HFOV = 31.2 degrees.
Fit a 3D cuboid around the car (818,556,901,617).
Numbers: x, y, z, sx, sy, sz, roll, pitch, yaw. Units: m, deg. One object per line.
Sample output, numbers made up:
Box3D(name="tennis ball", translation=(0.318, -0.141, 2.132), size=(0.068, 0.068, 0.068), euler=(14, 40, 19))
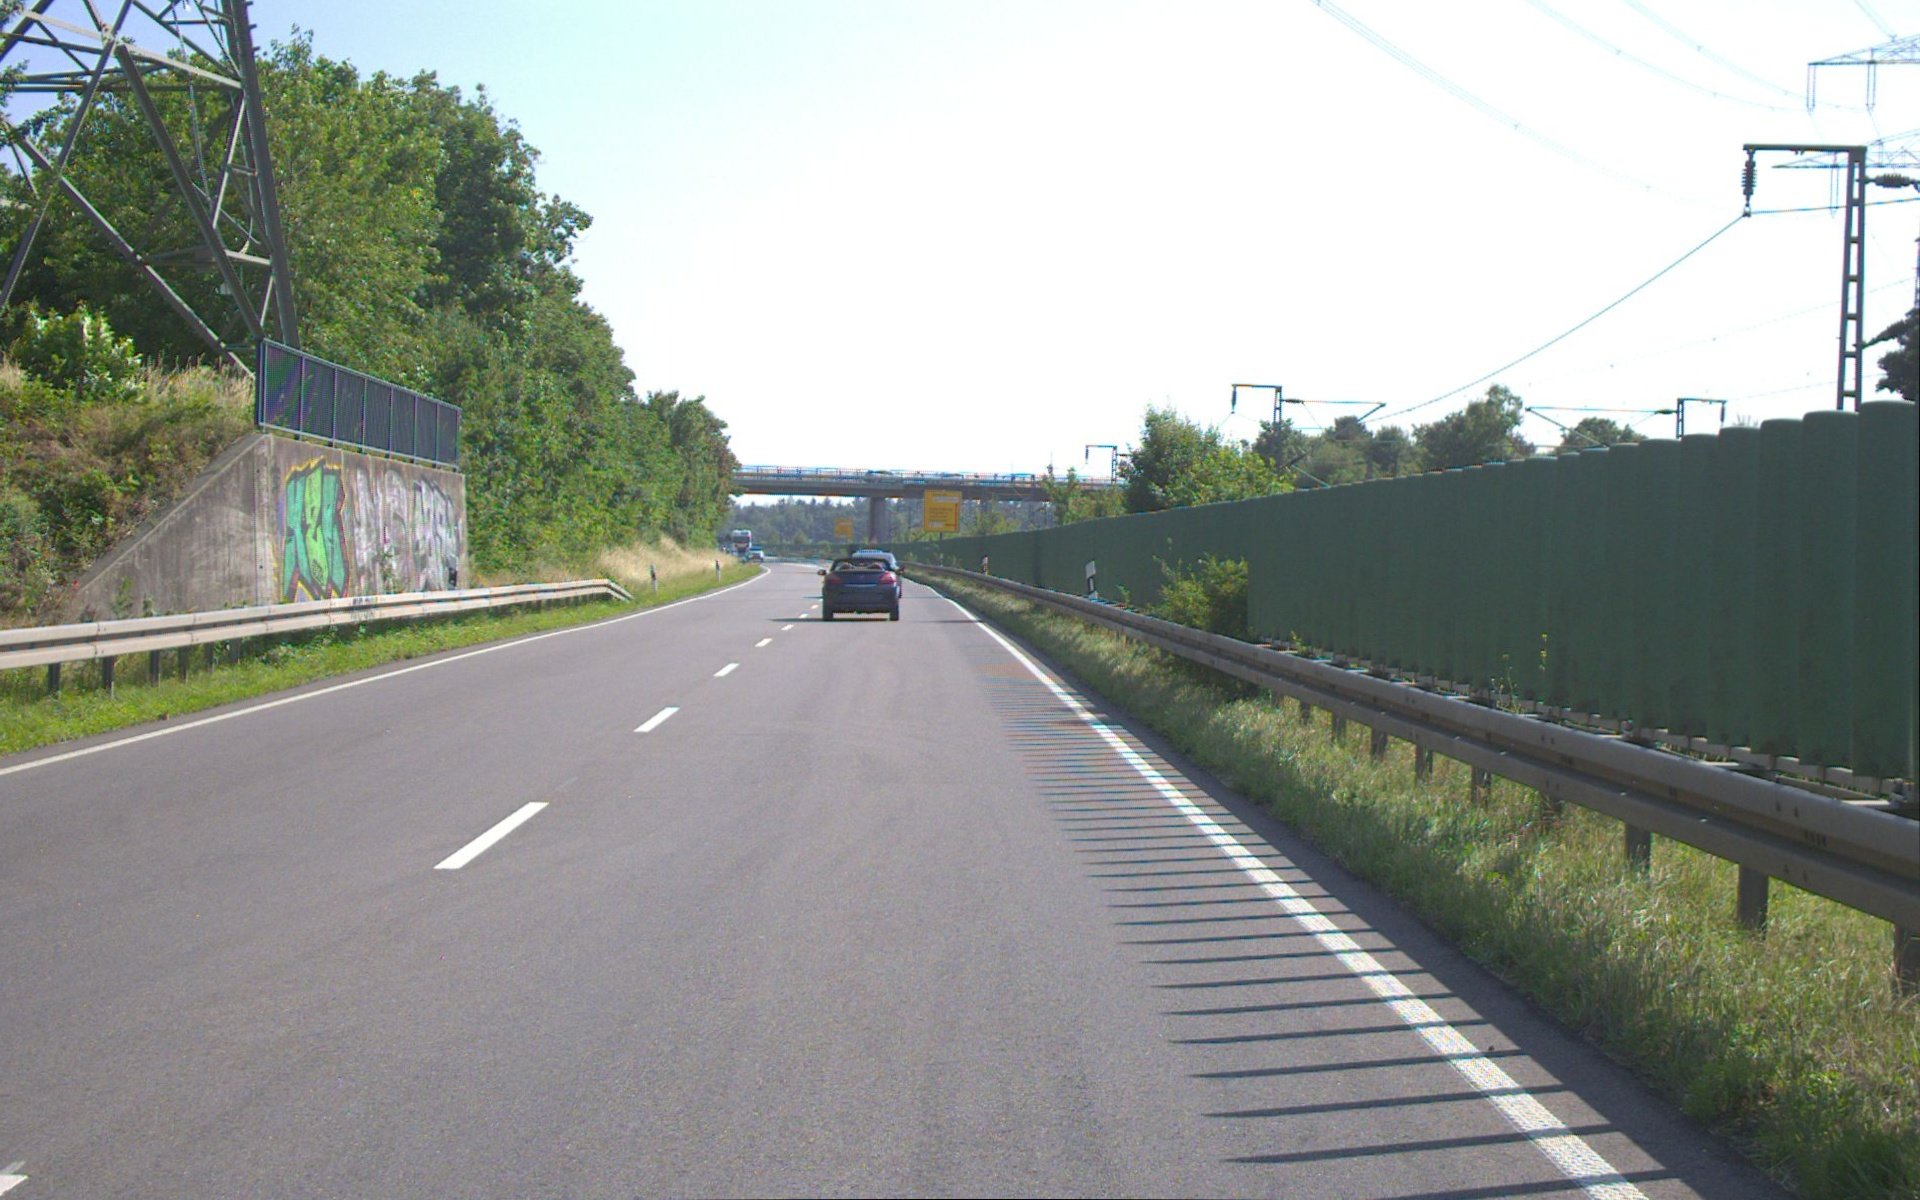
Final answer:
Box3D(name="car", translation=(-2.193, -0.294, 74.106), size=(1.663, 1.257, 4.001), euler=(1, 0, -3))
